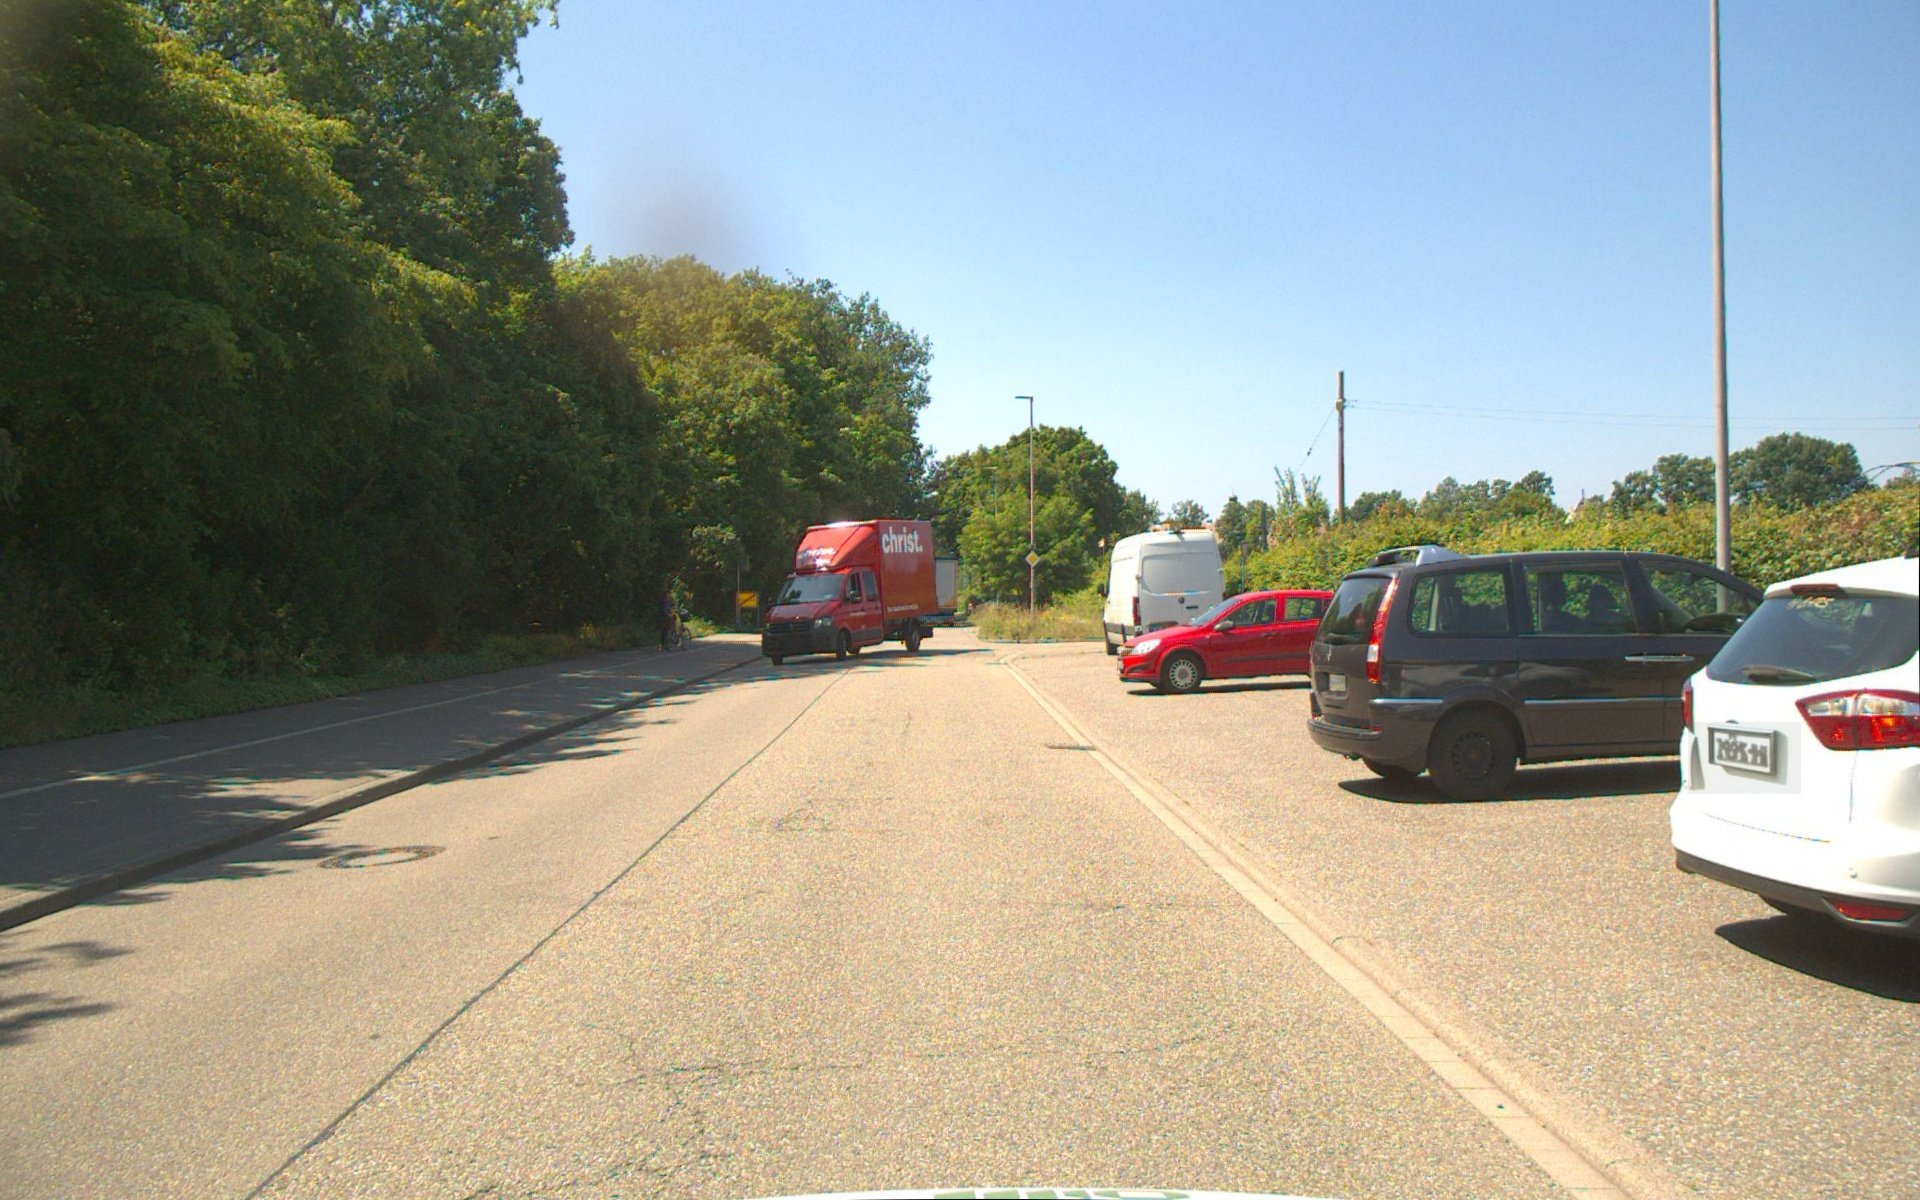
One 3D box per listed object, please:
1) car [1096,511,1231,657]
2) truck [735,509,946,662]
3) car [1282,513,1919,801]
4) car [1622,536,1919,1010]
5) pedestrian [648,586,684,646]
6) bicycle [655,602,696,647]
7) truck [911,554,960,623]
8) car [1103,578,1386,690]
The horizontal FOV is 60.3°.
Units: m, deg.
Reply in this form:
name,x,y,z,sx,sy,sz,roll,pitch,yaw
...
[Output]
name,x,y,z,sx,sy,sz,roll,pitch,yaw
car,4.312,-0.356,36.226,1.914,2.781,7.166,-3,1,0
truck,-2.889,-0.436,42.496,2.275,3.500,7.161,-3,0,22
car,4.960,0.396,12.903,4.367,1.836,1.950,-3,0,-6
car,5.138,0.478,6.660,4.192,1.605,1.764,-3,0,-4
pedestrian,-8.615,0.472,48.521,0.791,1.748,0.777,0,0,14
bicycle,-8.322,0.711,48.410,0.510,1.258,1.962,1,0,11
truck,-1.437,-0.638,98.569,2.678,3.811,13.243,0,0,-1
car,4.360,0.499,25.742,3.974,1.459,1.834,-3,0,-5
